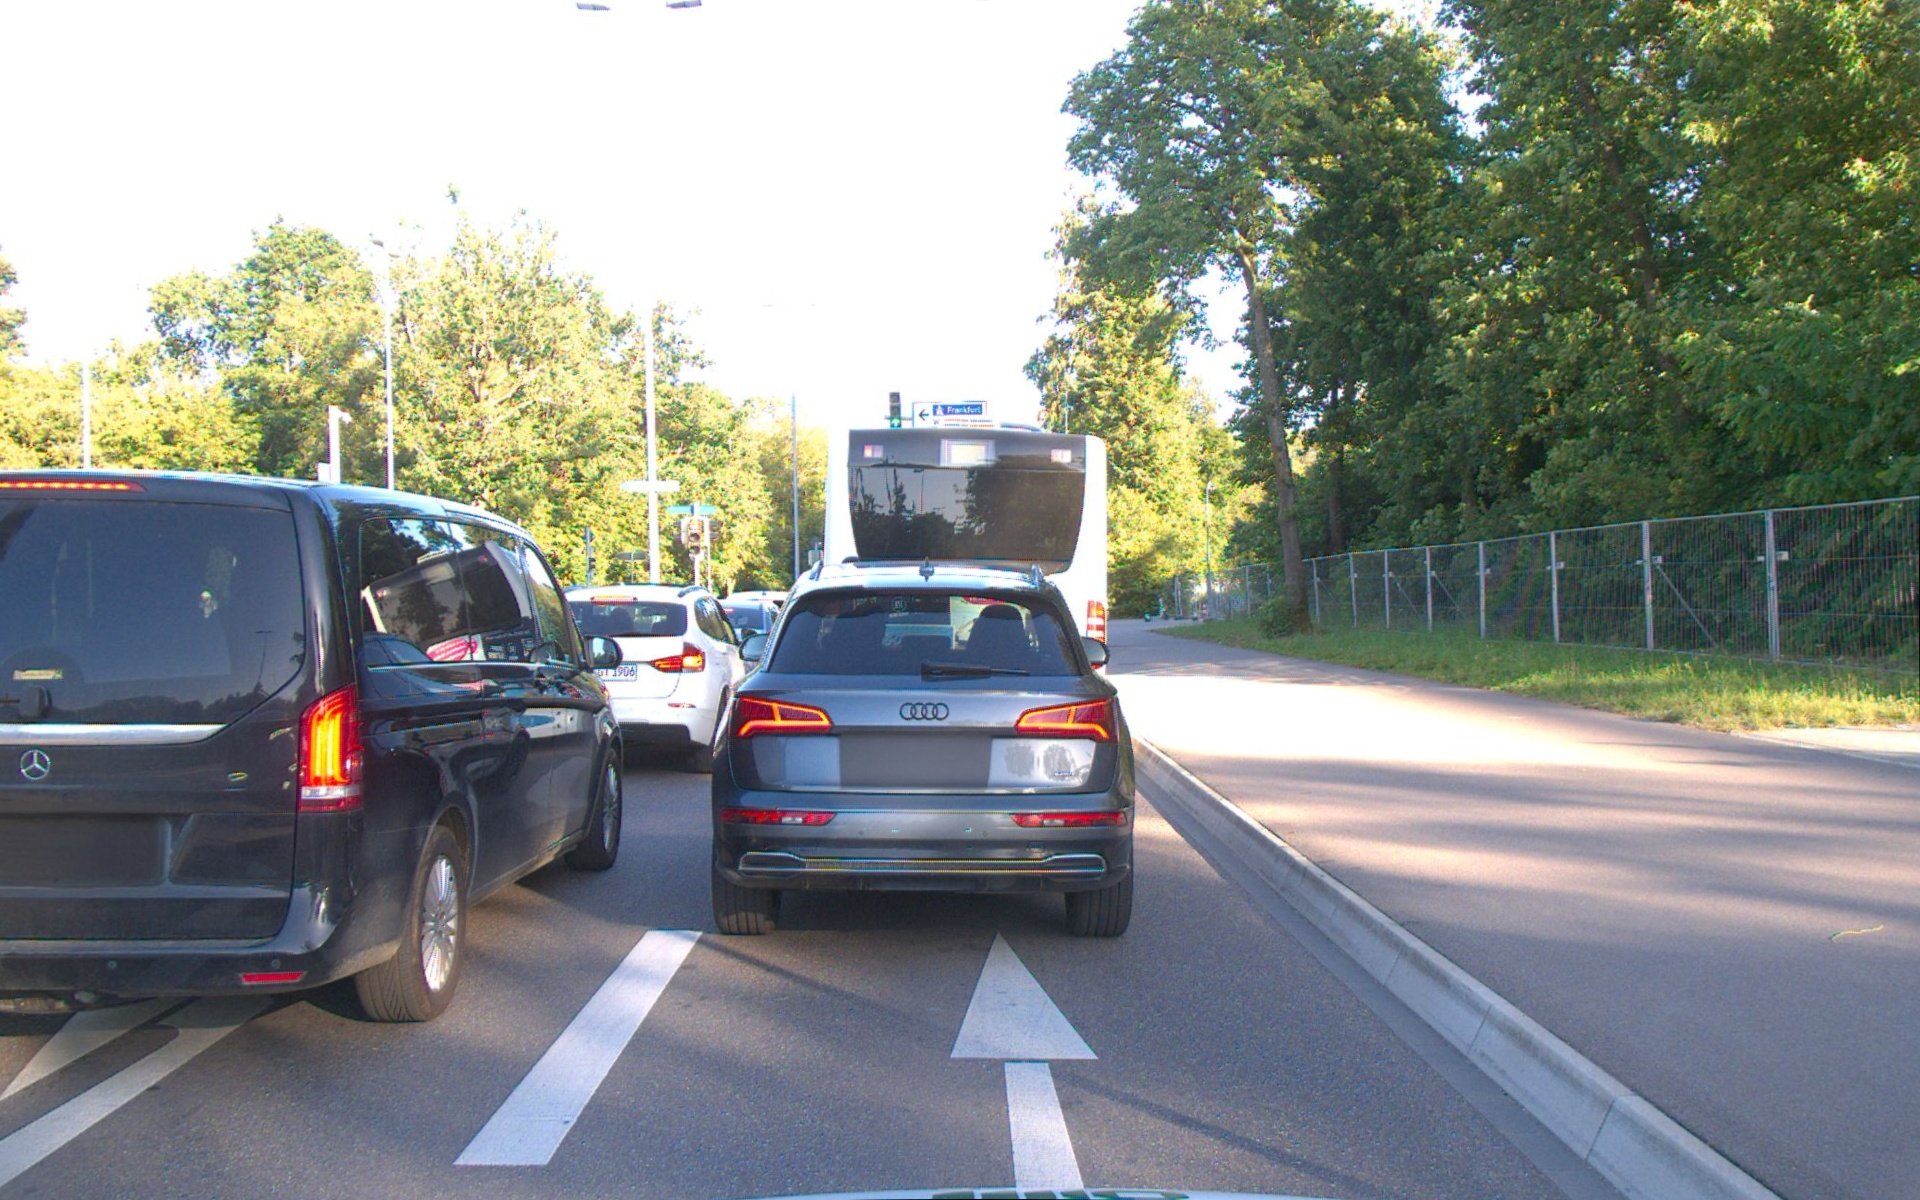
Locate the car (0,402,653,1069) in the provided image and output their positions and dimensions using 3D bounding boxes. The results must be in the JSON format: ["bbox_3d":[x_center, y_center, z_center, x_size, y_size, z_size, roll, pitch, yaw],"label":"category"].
[{"bbox_3d":[-2.681,0.381,7.137,1.868,1.888,4.872,1,0,-1],"label":"car"}]

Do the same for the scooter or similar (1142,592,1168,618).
[{"bbox_3d":[9.211,0.235,78.191,1.158,1.195,0.659,1,0,10],"label":"scooter or similar"}]

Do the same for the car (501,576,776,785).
[{"bbox_3d":[-2.752,0.618,15.119,1.683,1.608,4.433,1,0,-1],"label":"car"}]

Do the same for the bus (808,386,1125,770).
[{"bbox_3d":[0.077,-0.226,16.897,2.623,3.196,5.882,1,1,0],"label":"bus"}]

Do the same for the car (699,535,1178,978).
[{"bbox_3d":[-0.110,0.581,8.407,1.830,1.693,4.000,1,1,-1],"label":"car"}]

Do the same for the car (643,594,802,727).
[{"bbox_3d":[-2.941,0.692,21.221,1.750,1.469,4.273,1,1,-5],"label":"car"}]

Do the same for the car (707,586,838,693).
[{"bbox_3d":[-3.061,0.599,27.680,1.771,1.599,4.000,1,1,-1],"label":"car"}]
